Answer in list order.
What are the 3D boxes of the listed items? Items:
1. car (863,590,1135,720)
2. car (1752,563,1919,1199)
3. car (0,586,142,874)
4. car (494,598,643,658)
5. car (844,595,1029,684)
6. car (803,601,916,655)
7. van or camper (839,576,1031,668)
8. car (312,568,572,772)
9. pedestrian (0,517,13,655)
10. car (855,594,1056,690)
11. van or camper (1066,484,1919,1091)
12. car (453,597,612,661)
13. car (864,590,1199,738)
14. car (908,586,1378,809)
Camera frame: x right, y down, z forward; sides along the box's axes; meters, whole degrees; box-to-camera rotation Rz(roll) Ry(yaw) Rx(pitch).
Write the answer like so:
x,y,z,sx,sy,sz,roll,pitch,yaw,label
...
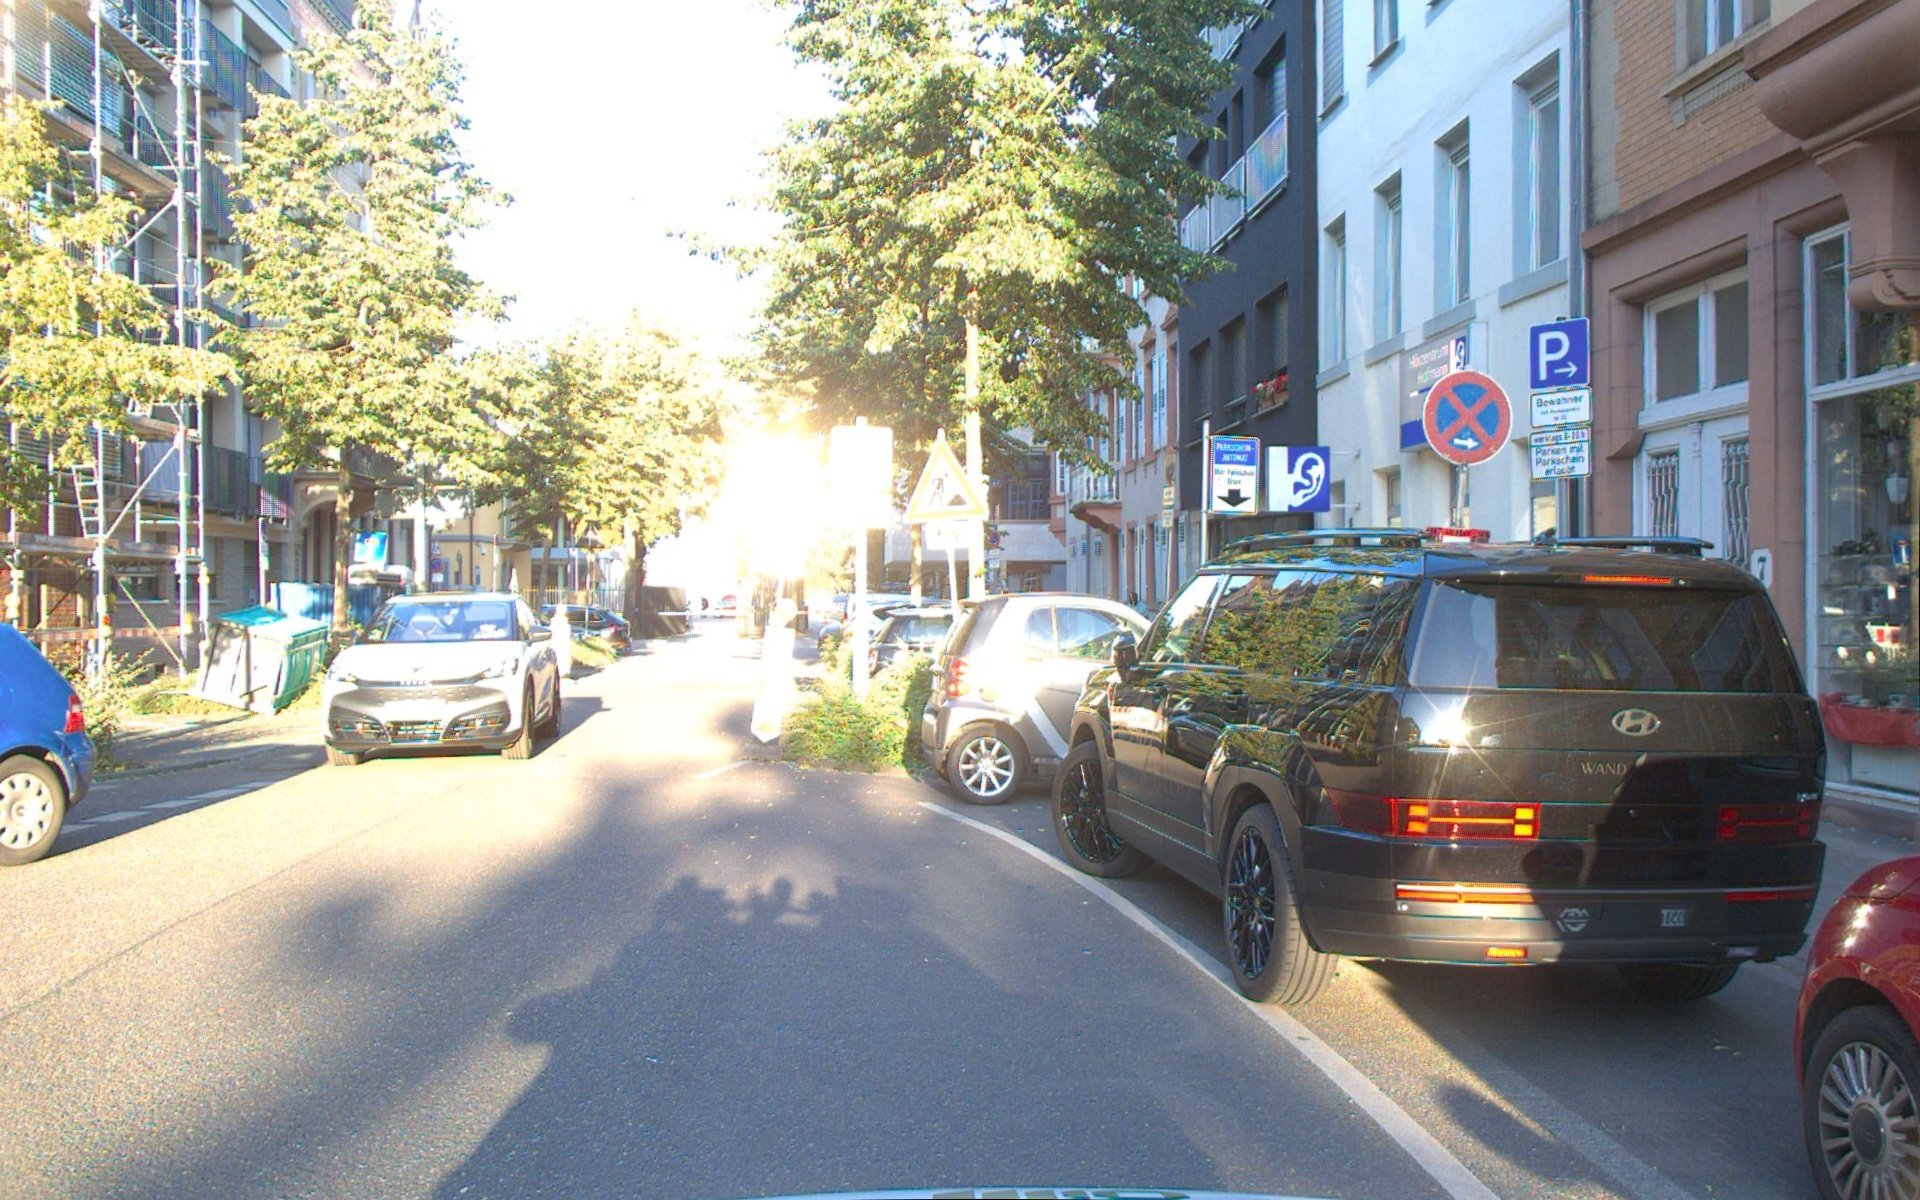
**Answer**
x,y,z,sx,sy,sz,roll,pitch,yaw,label
0.490,0.755,23.332,3.614,1.699,1.856,1,0,-6,car
2.952,0.727,2.788,1.495,1.597,3.420,1,0,-2,car
-6.423,0.748,8.366,1.653,1.590,4.120,-2,0,18,car
-11.385,0.797,48.300,3.906,1.713,1.890,0,0,-1,car
-0.518,0.790,33.818,3.614,1.699,1.856,1,0,-6,car
-3.093,0.875,51.790,1.817,1.595,3.690,1,0,29,car
-0.630,0.513,38.887,4.354,2.041,1.856,1,0,-6,van or camper
-5.103,0.626,16.869,1.838,1.727,4.312,-2,0,-9,car
-12.973,-0.178,21.687,0.727,1.814,0.656,-1,0,-5,pedestrian
-0.130,0.781,31.256,3.614,1.699,1.856,1,0,-6,car
1.853,0.570,7.368,1.854,1.839,4.451,0,0,-9,van or camper
-11.745,0.776,45.595,3.906,1.713,1.890,0,0,-1,car
0.815,0.766,20.521,3.918,1.699,1.856,1,0,-6,car
1.395,0.703,13.081,3.409,1.603,1.503,0,0,-12,car
